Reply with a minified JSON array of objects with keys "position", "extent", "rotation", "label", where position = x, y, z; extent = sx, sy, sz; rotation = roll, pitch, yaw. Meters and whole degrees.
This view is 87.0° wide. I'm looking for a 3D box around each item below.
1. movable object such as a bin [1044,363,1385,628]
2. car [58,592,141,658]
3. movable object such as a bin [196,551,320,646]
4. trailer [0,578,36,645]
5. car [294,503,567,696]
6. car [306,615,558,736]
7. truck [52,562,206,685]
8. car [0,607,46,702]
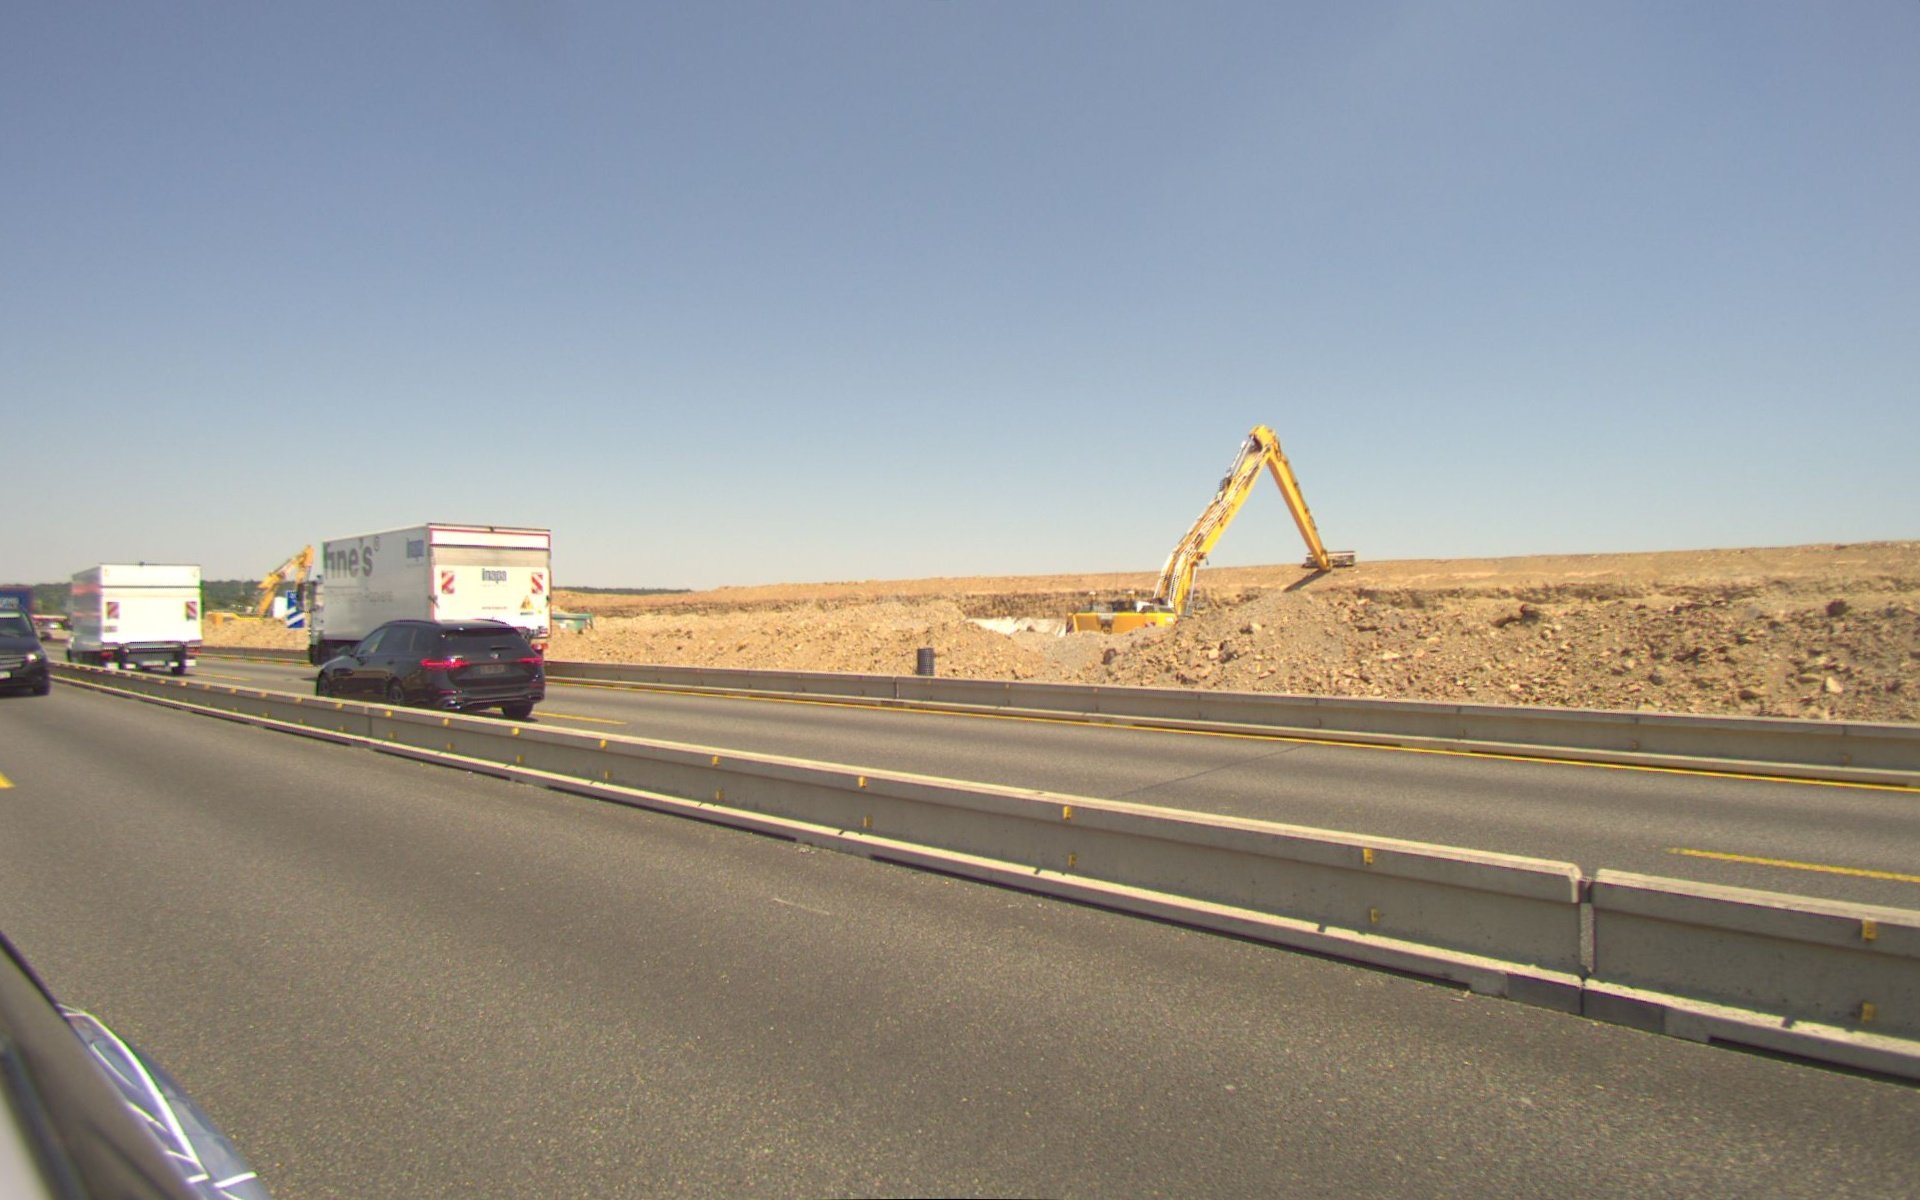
[{"position":[9.536,-2.732,34.052],"extent":[3.386,6.823,18.033],"rotation":[-1,0,41],"label":"movable object such as a bin"},{"position":[-41.612,1.175,48.882],"extent":[5.846,2.978,2.228],"rotation":[-1,0,41],"label":"car"},{"position":[-55.819,-0.118,80.586],"extent":[4.079,7.167,7.284],"rotation":[-1,0,41],"label":"movable object such as a bin"},{"position":[-70.807,0.855,74.703],"extent":[12.885,4.631,2.952],"rotation":[-1,0,43],"label":"trailer"},{"position":[-12.554,0.084,23.570],"extent":[8.086,3.769,2.878],"rotation":[-2,-1,41],"label":"car"},{"position":[-7.866,0.988,14.885],"extent":[4.559,1.493,1.770],"rotation":[-1,0,41],"label":"car"},{"position":[-24.132,0.637,29.242],"extent":[7.309,3.173,2.248],"rotation":[-1,0,41],"label":"truck"},{"position":[-21.119,1.118,21.546],"extent":[5.476,1.865,1.854],"rotation":[-1,0,41],"label":"car"}]
